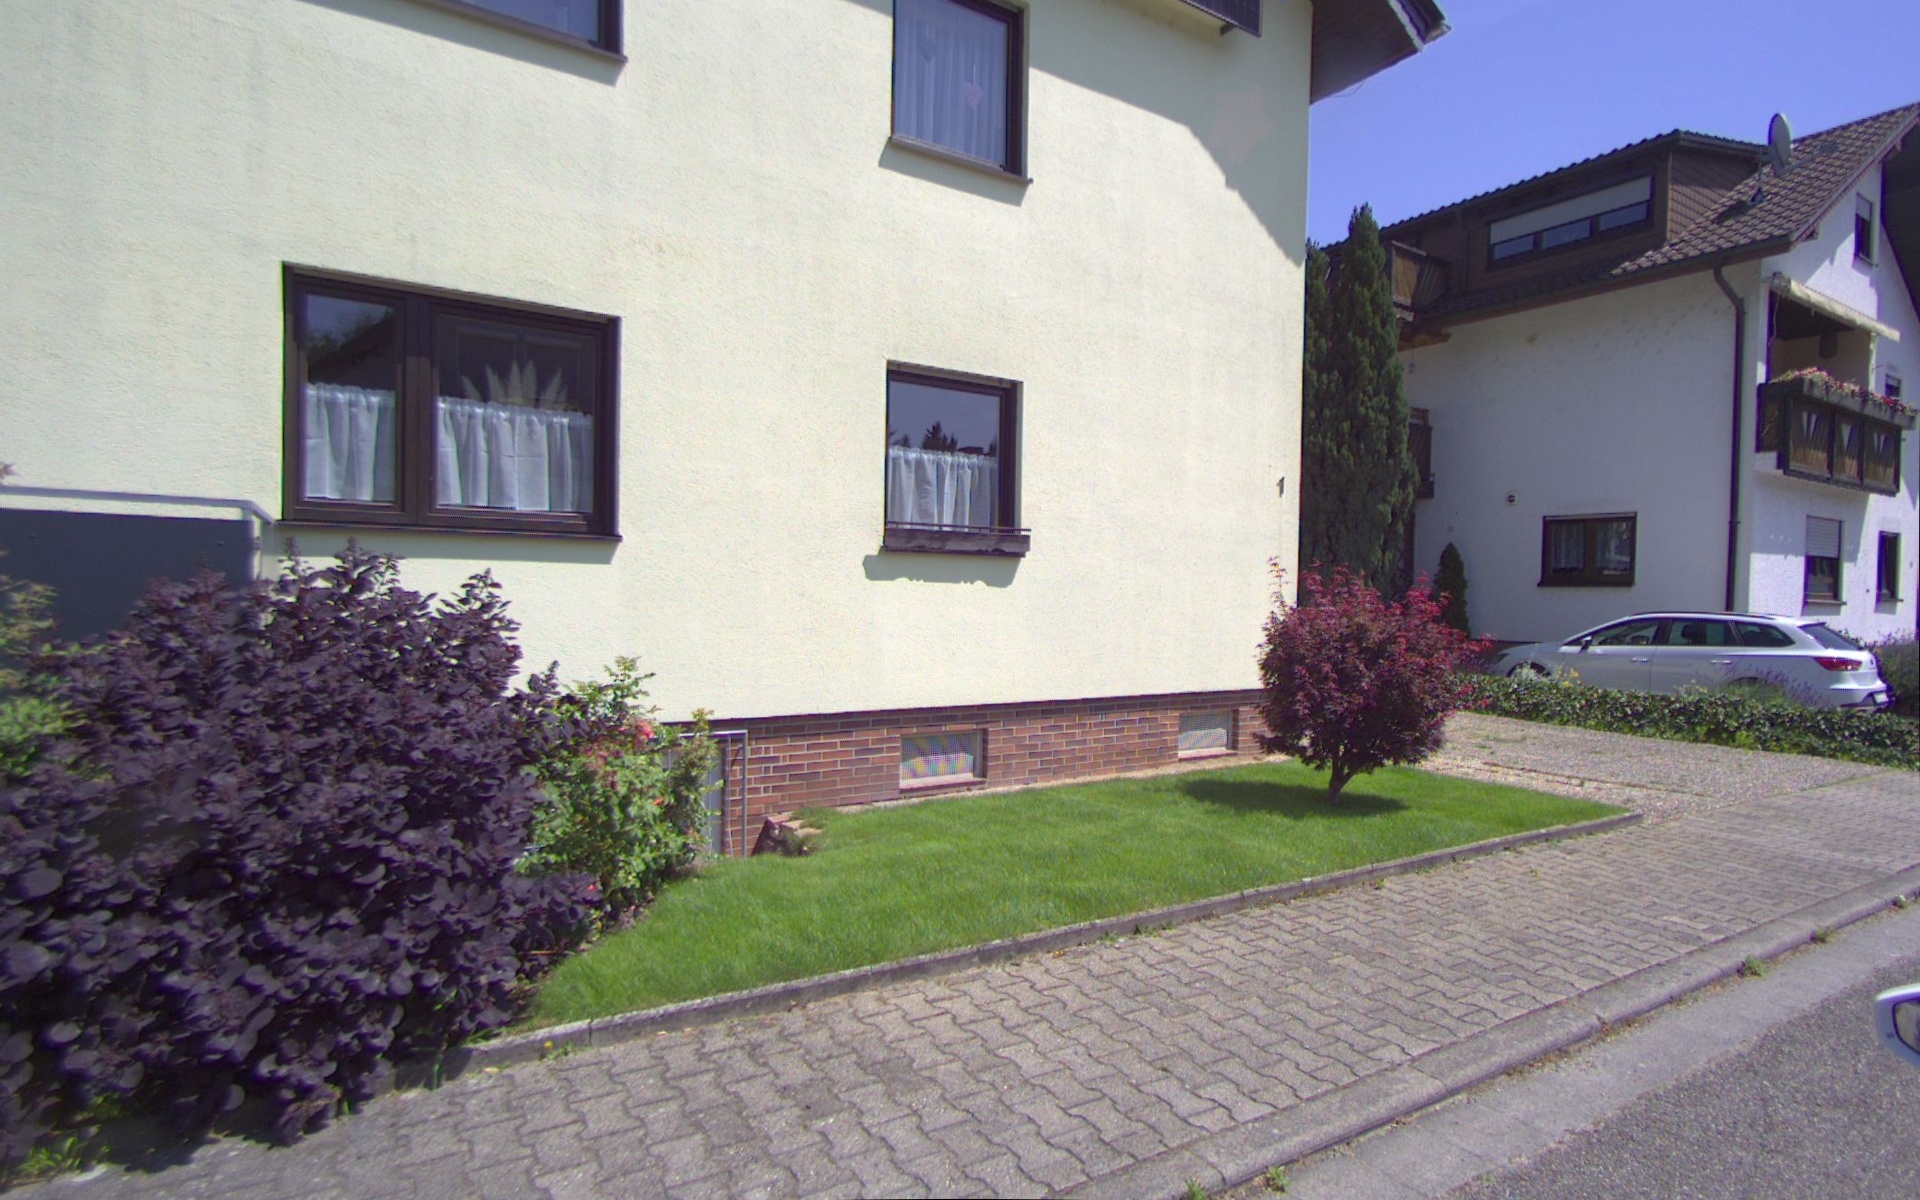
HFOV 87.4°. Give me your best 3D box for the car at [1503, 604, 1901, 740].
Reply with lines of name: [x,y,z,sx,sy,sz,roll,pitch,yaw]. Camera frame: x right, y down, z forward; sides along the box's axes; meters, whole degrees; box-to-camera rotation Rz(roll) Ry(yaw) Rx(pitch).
car: [9.844,0.841,13.606,1.828,1.439,3.957,1,1,-37]
